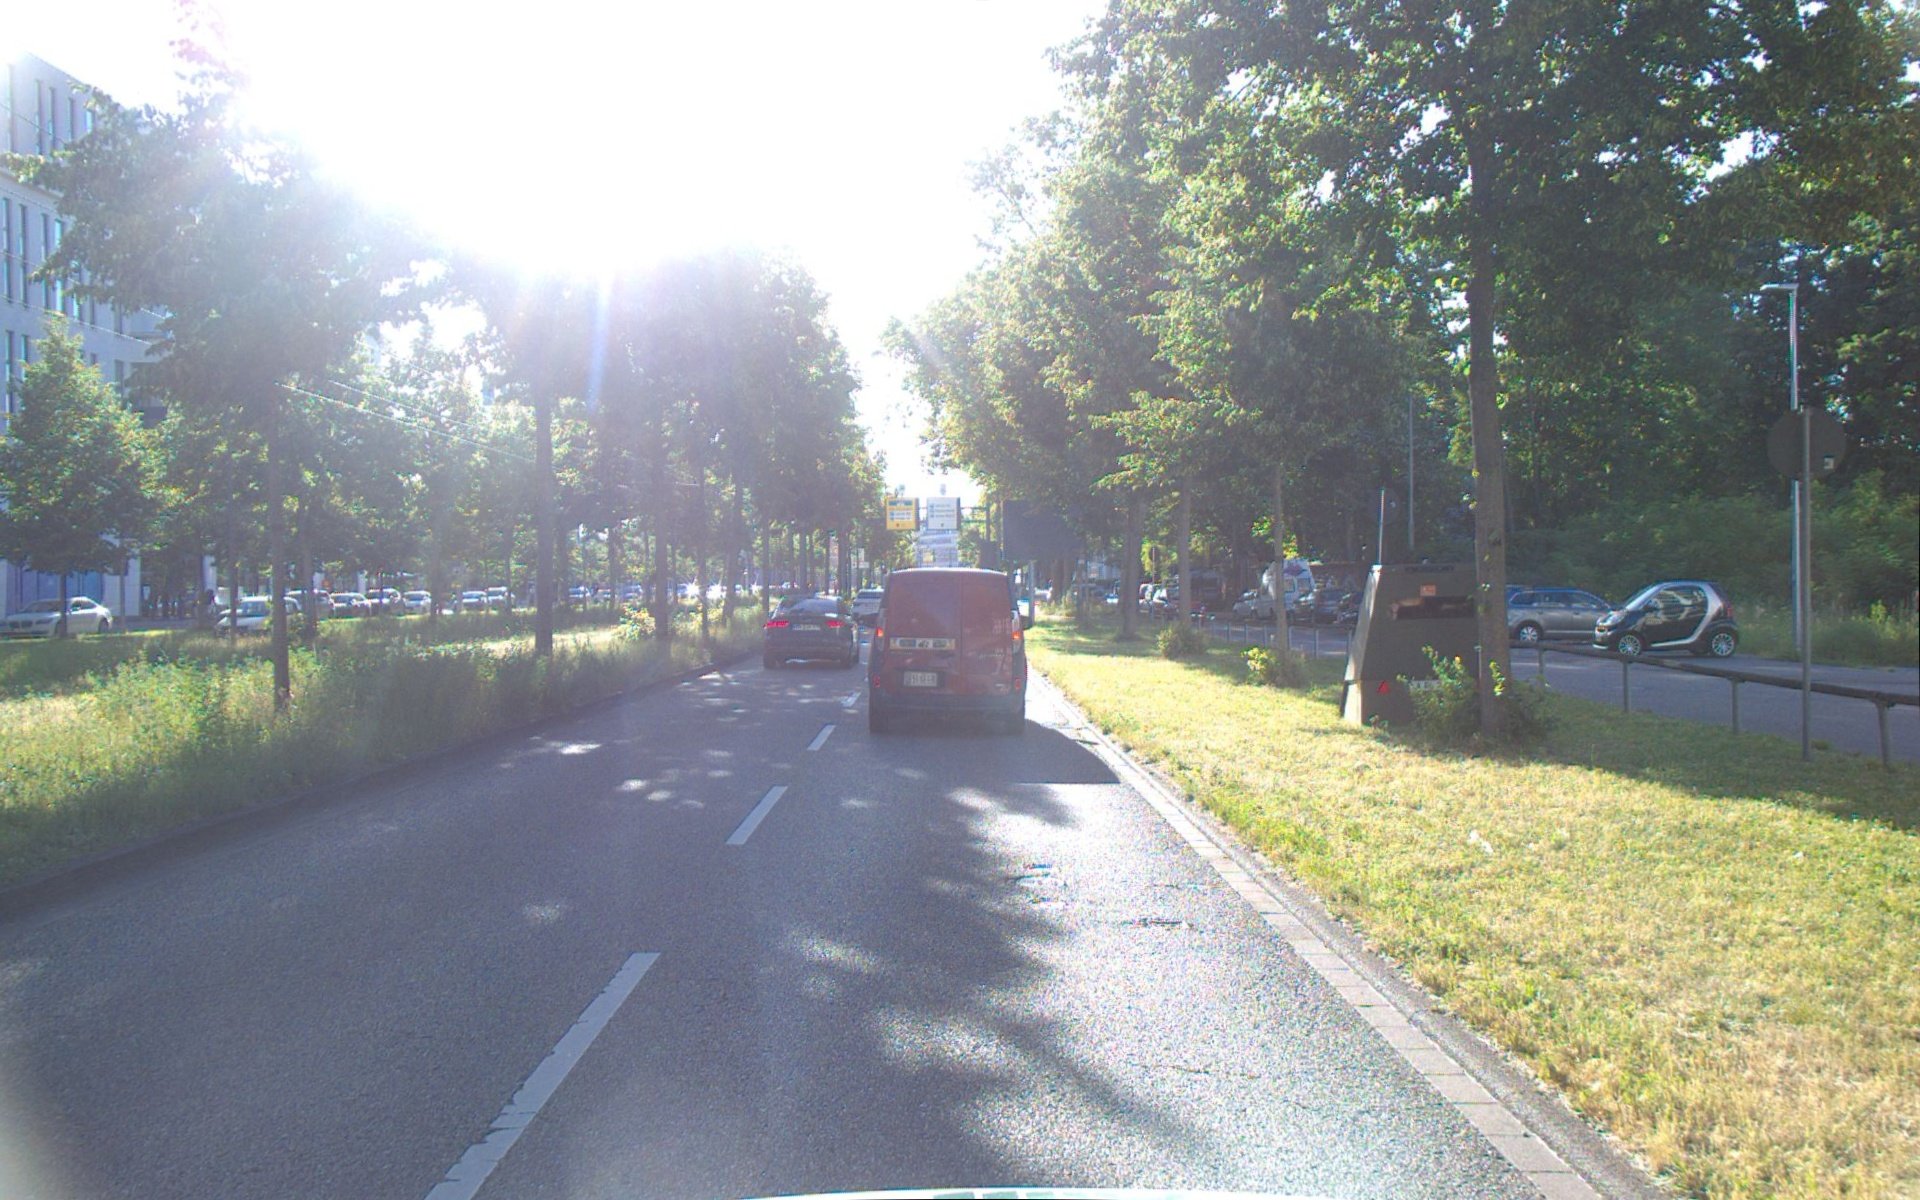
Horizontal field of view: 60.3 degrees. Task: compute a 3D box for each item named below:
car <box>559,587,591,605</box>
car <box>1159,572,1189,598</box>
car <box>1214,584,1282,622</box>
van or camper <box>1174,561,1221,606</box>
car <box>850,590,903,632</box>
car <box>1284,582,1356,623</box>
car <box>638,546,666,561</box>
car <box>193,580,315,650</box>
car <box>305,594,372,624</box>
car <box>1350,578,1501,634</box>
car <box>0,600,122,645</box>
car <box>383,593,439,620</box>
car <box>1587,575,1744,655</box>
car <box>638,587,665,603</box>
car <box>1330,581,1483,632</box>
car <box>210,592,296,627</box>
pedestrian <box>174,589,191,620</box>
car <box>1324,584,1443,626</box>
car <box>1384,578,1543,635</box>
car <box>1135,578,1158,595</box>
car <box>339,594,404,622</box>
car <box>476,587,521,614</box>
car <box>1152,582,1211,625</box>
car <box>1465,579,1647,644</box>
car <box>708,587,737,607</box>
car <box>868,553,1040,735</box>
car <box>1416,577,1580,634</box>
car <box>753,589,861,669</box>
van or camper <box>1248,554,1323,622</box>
[{"bbox_3d":[-32.623,-0.336,140.264,1.841,1.460,4.609,0,0,-2],"label":"car"},{"bbox_3d":[16.991,-1.173,131.427,2.043,2.049,4.945,0,0,4],"label":"car"},{"bbox_3d":[13.833,0.117,79.649,1.807,1.646,3.989,-4,1,-11],"label":"car"},{"bbox_3d":[15.548,-1.085,108.465,2.503,2.731,6.568,-2,1,4],"label":"van or camper"},{"bbox_3d":[-3.396,0.446,67.814,1.953,1.646,4.000,1,0,0],"label":"car"},{"bbox_3d":[14.605,0.105,67.274,1.953,1.601,3.999,1,0,-1],"label":"car"},{"bbox_3d":[-30.378,-4.601,163.162,1.873,1.348,4.611,1,0,0],"label":"car"},{"bbox_3d":[-22.036,0.450,51.785,1.952,2.049,4.001,1,0,2],"label":"car"},{"bbox_3d":[-31.742,0.443,84.597,1.954,1.466,4.453,1,0,-3],"label":"car"},{"bbox_3d":[15.071,0.175,53.734,4.290,1.435,2.001,-5,0,2],"label":"car"},{"bbox_3d":[-31.399,0.748,57.739,1.954,1.466,4.923,1,0,-3],"label":"car"},{"bbox_3d":[-32.256,0.375,97.289,1.954,1.466,4.453,1,0,-3],"label":"car"},{"bbox_3d":[14.688,0.310,34.533,2.707,1.577,1.463,-2,0,9],"label":"car"},{"bbox_3d":[-32.713,-0.527,175.493,1.952,1.636,4.611,1,0,0],"label":"car"},{"bbox_3d":[15.220,0.207,56.576,4.624,1.430,2.000,-4,0,0],"label":"car"},{"bbox_3d":[-31.589,0.409,74.057,1.954,1.466,4.776,1,0,-3],"label":"car"},{"bbox_3d":[-41.601,0.244,88.511,0.623,1.680,0.719,1,0,-8],"label":"pedestrian"},{"bbox_3d":[15.685,0.177,61.311,3.910,1.531,1.763,0,0,-7],"label":"car"},{"bbox_3d":[15.456,0.175,50.869,4.243,1.503,1.905,-3,2,-4],"label":"car"},{"bbox_3d":[19.280,-1.422,171.450,1.952,1.668,4.000,1,0,1],"label":"car"},{"bbox_3d":[-32.129,0.431,90.395,1.954,1.466,4.934,1,0,-3],"label":"car"},{"bbox_3d":[-31.967,0.005,114.625,1.954,1.803,4.774,1,0,-3],"label":"car"},{"bbox_3d":[9.110,0.135,68.299,1.952,1.668,4.001,1,0,2],"label":"car"},{"bbox_3d":[15.168,0.284,42.229,3.996,1.493,1.715,-2,0,0],"label":"car"},{"bbox_3d":[-21.090,-0.243,147.026,1.953,1.715,5.109,1,0,-1],"label":"car"},{"bbox_3d":[-0.174,0.460,19.319,1.773,1.870,3.997,1,0,-3],"label":"car"},{"bbox_3d":[15.436,0.150,47.579,4.108,1.524,1.781,-1,0,-4],"label":"car"},{"bbox_3d":[-2.969,0.540,32.859,1.755,1.453,4.000,1,0,0],"label":"car"},{"bbox_3d":[14.316,-0.516,73.015,1.954,2.778,4.961,-3,0,-3],"label":"van or camper"}]
